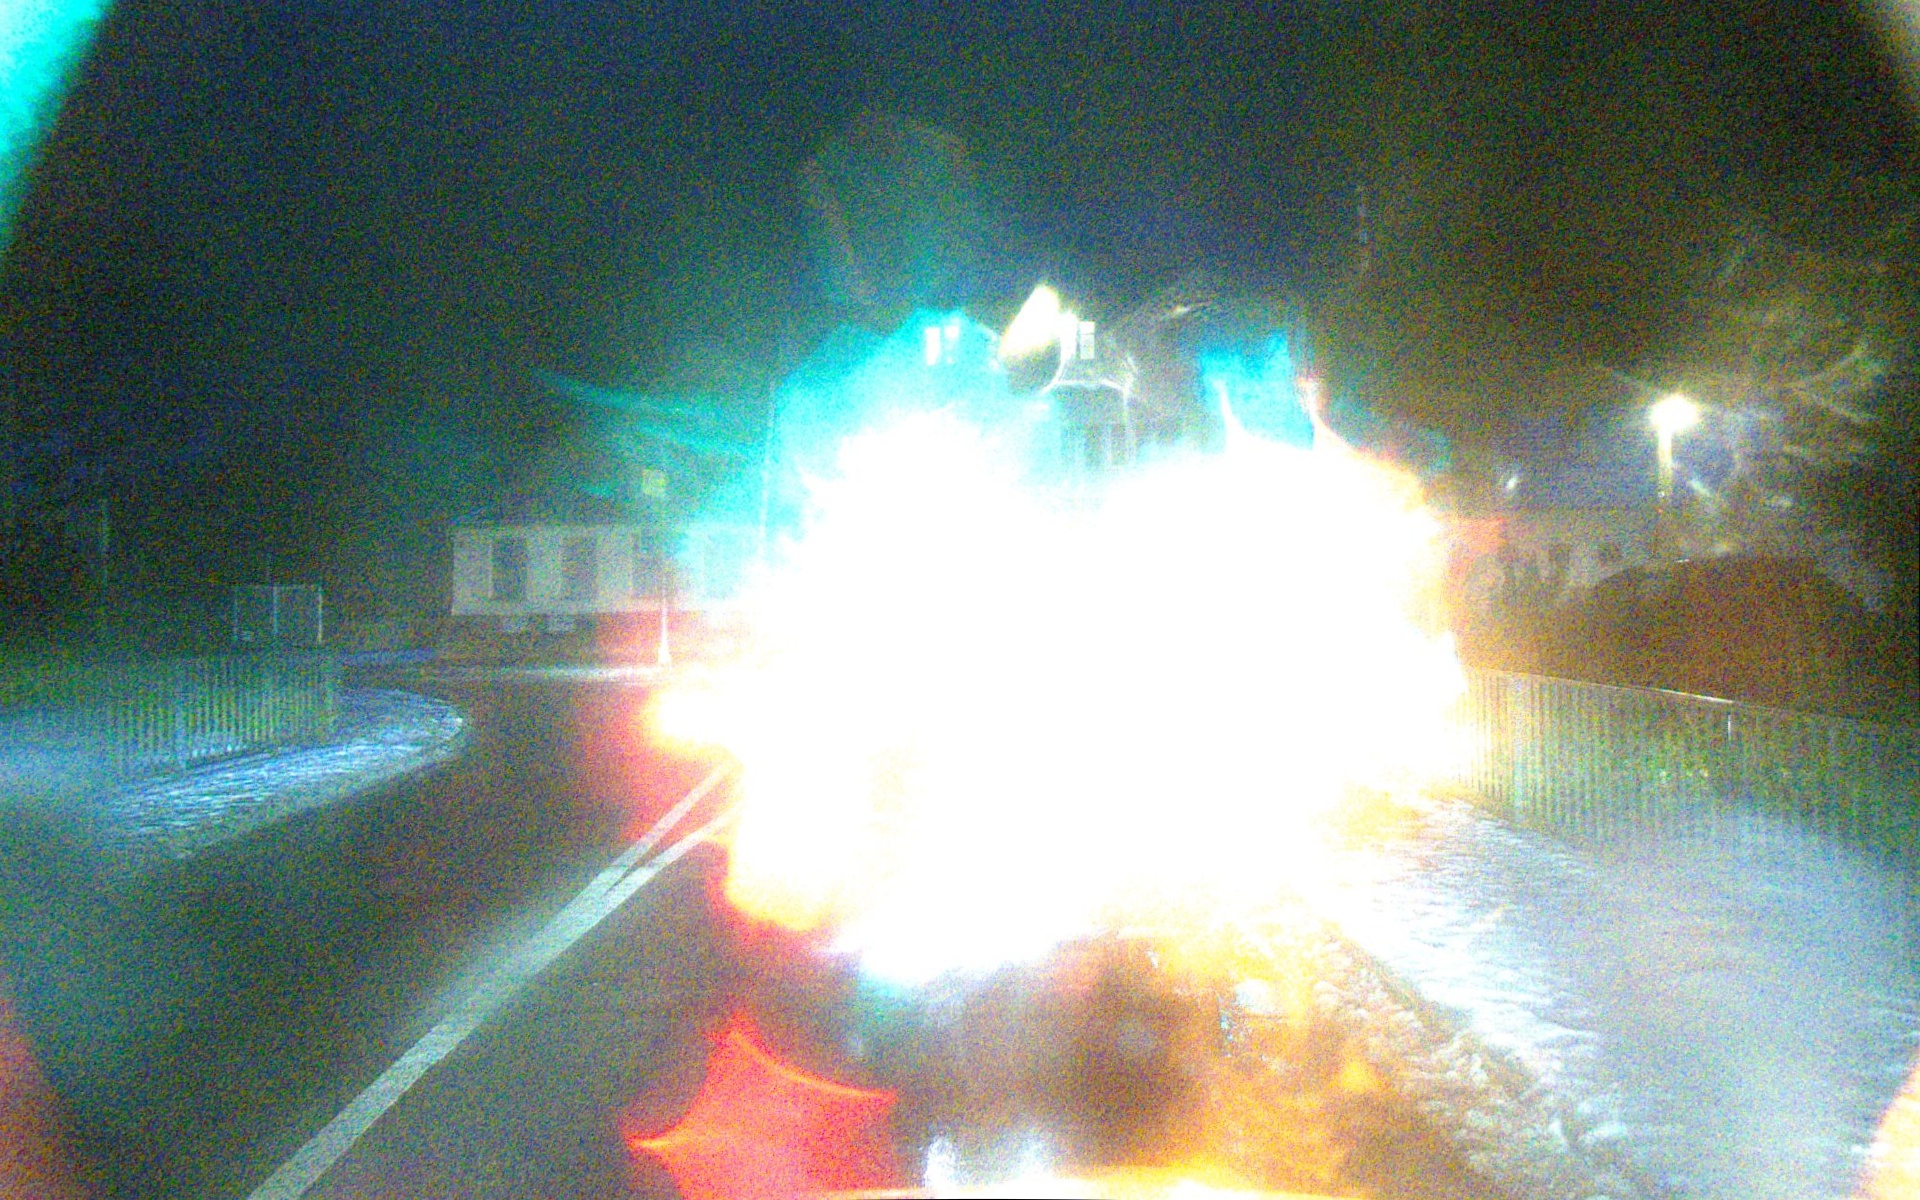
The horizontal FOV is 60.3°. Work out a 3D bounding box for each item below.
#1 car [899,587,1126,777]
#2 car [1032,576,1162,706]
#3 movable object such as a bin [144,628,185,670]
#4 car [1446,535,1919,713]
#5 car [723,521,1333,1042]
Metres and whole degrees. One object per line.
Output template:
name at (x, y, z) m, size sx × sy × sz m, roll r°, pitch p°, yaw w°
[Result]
car at (0.443, 0.683, 16.266) m, size 1.871 × 1.537 × 4.240 m, roll -3°, pitch 0°, yaw 0°
car at (2.448, 0.727, 28.656) m, size 1.733 × 1.981 × 4.257 m, roll 4°, pitch -1°, yaw 10°
movable object such as a bin at (-27.153, 1.656, 56.500) m, size 1.213 × 1.348 × 1.144 m, roll -1°, pitch 1°, yaw -25°
car at (7.681, 0.245, 17.945) m, size 4.372 × 1.613 × 1.941 m, roll -3°, pitch 1°, yaw 10°
car at (0.204, 0.618, 7.629) m, size 2.016 × 1.707 × 4.138 m, roll 1°, pitch 0°, yaw -1°
